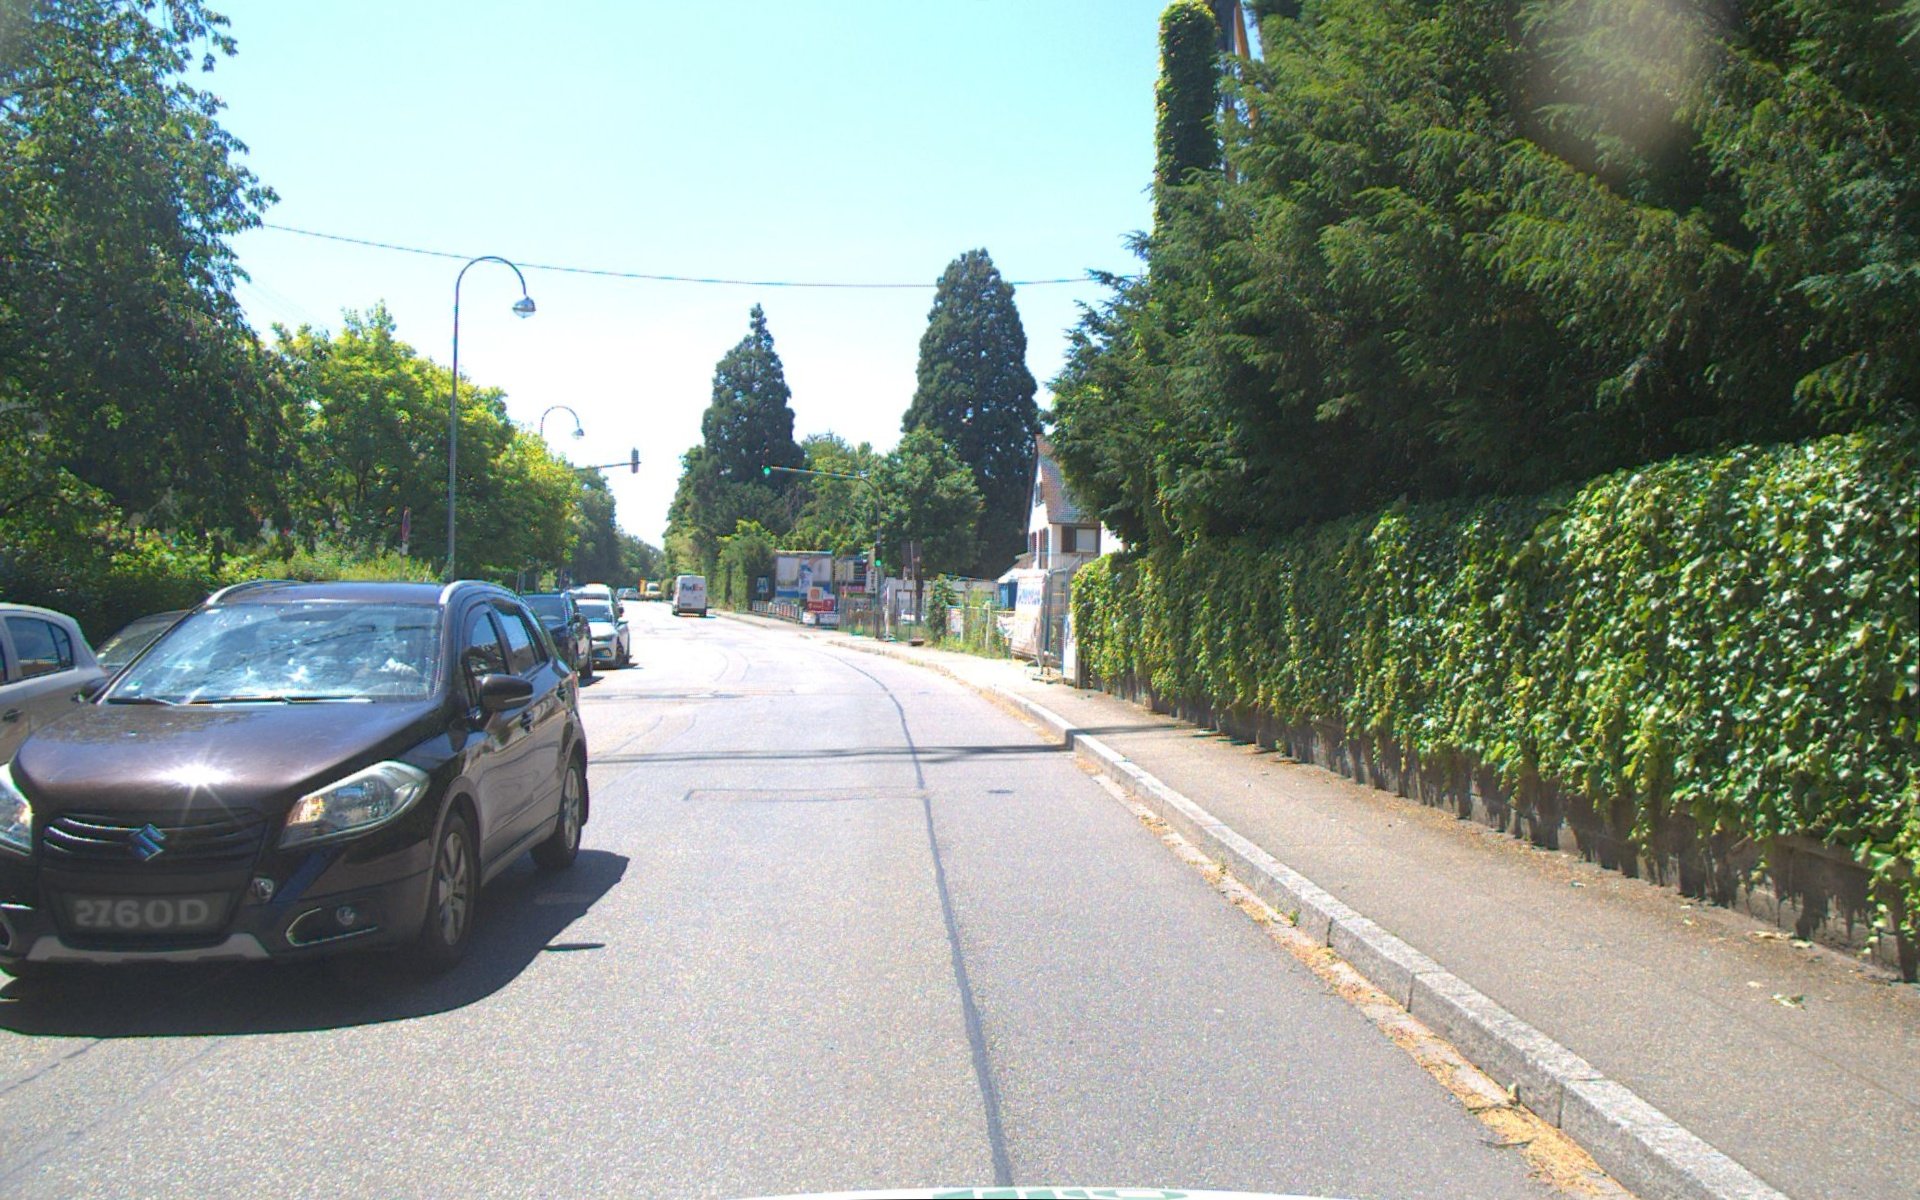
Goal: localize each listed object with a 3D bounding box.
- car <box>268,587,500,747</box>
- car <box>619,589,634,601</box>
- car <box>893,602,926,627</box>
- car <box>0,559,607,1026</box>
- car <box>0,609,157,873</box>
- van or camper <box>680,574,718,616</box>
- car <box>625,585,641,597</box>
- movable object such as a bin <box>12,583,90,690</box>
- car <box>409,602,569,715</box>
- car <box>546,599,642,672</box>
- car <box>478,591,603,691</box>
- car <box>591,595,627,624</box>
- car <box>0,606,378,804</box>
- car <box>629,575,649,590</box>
[{"bbox_3d":[-6.679,0.705,19.561,1.648,1.668,3.786,-1,0,-5],"label":"car"},{"bbox_3d":[-48.657,-0.756,241.590,1.960,1.691,3.985,0,0,-14],"label":"car"},{"bbox_3d":[-2.743,0.789,89.476,1.677,1.292,3.383,1,0,-3],"label":"car"},{"bbox_3d":[-2.943,0.660,7.812,1.861,1.602,4.138,-1,0,-3],"label":"car"},{"bbox_3d":[-6.304,0.828,9.331,1.760,1.467,3.783,-1,0,-2],"label":"car"},{"bbox_3d":[-16.875,-0.324,106.921,2.222,2.572,4.746,-1,0,-11],"label":"van or camper"},{"bbox_3d":[-44.843,-1.221,226.490,1.960,1.691,3.985,0,0,-14],"label":"car"},{"bbox_3d":[-12.824,0.503,23.359,0.644,1.478,0.916,-1,0,-7],"label":"movable object such as a bin"},{"bbox_3d":[-6.995,0.805,24.948,1.649,1.501,4.323,-1,0,-7],"label":"car"},{"bbox_3d":[-8.080,0.746,36.794,1.649,1.466,4.240,-1,0,-7],"label":"car"},{"bbox_3d":[-7.589,0.688,30.273,1.649,1.665,4.323,-1,0,-7],"label":"car"},{"bbox_3d":[-19.111,0.495,89.982,1.730,1.473,3.909,-1,0,-14],"label":"car"},{"bbox_3d":[-6.532,0.803,14.426,1.647,1.425,3.788,-1,0,-2],"label":"car"},{"bbox_3d":[-35.422,-1.933,182.650,1.960,1.691,3.985,0,0,-14],"label":"car"}]
